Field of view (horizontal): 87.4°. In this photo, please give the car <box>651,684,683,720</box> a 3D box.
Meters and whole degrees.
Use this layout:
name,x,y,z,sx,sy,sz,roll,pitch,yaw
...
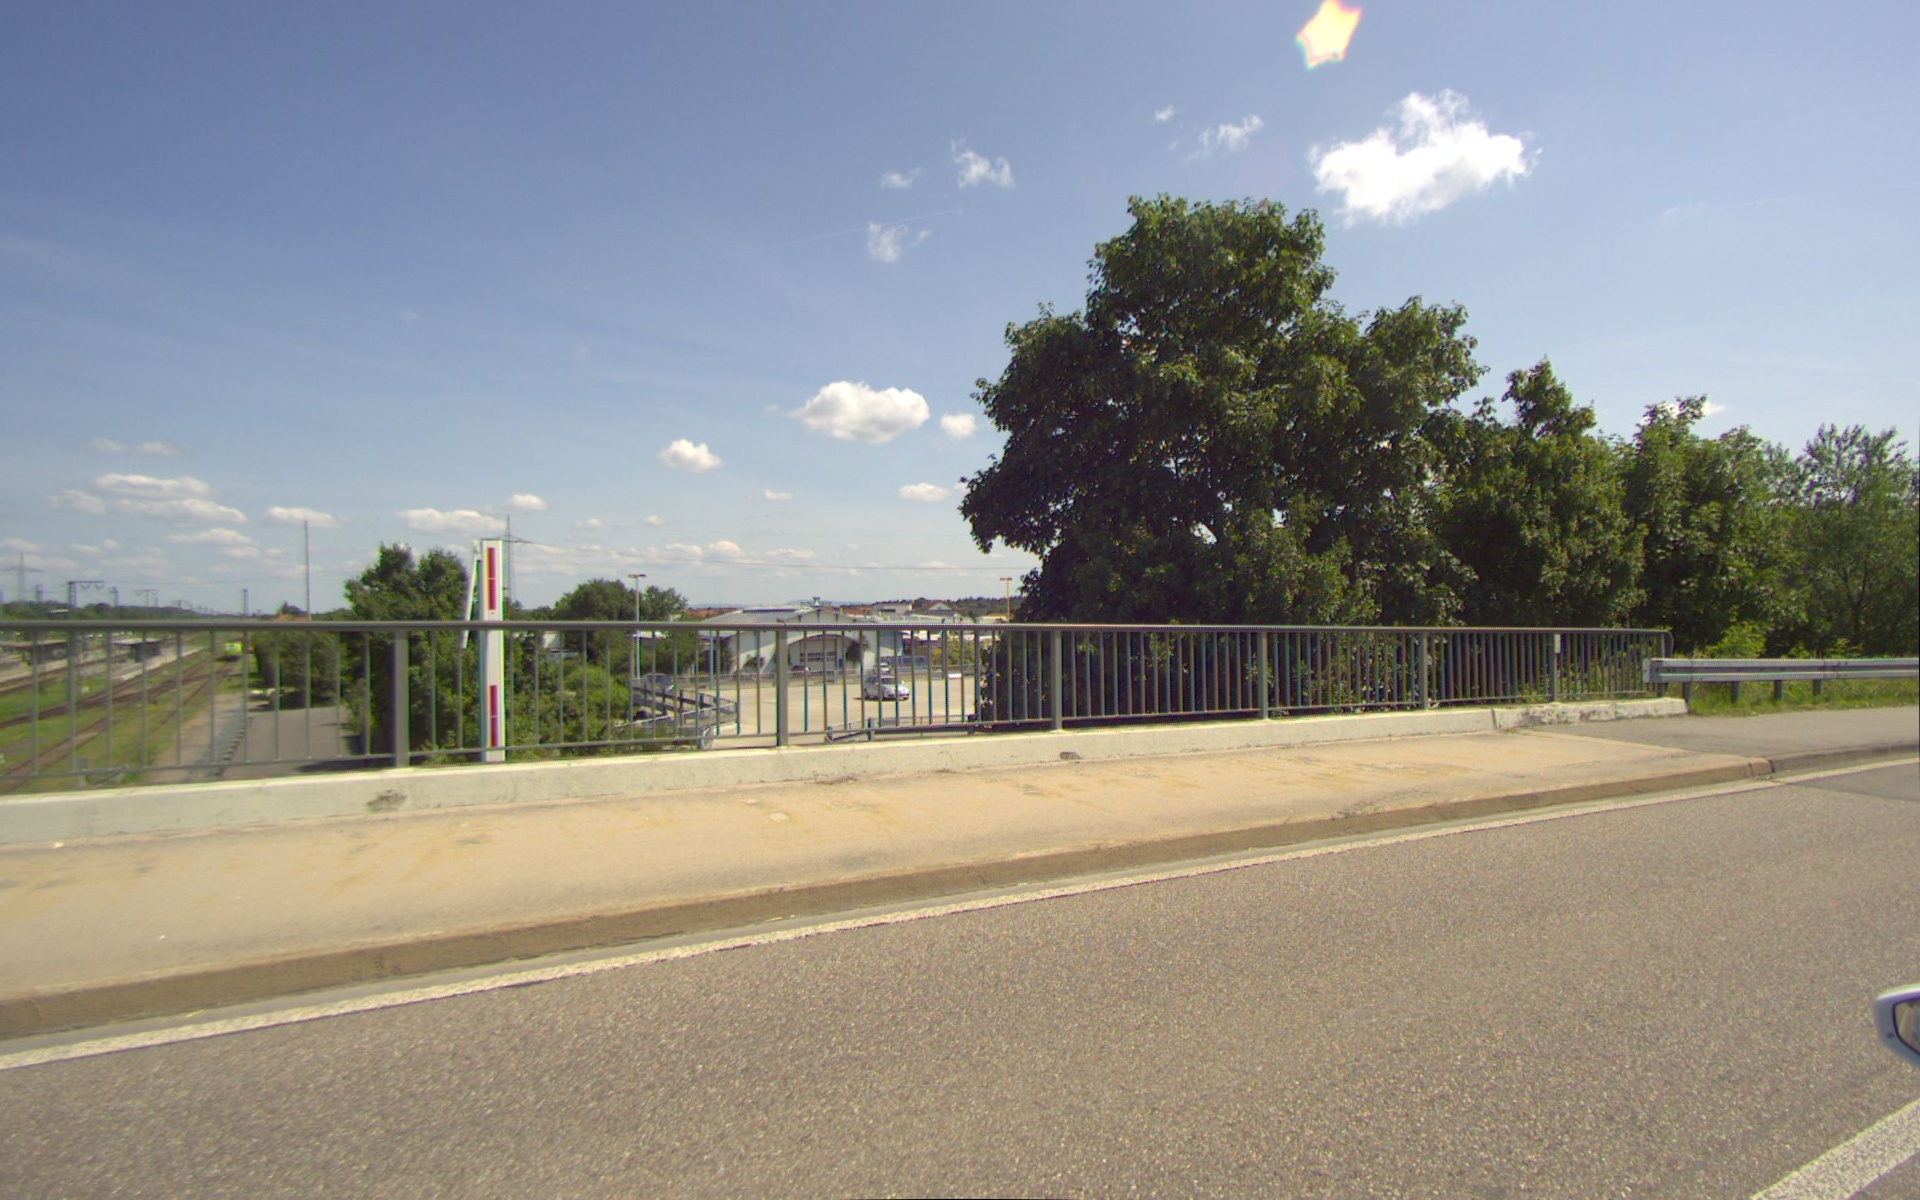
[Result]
name,x,y,z,sx,sy,sz,roll,pitch,yaw
car,-20.490,7.099,70.212,1.969,2.041,3.983,-1,1,-19

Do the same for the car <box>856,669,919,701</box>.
name,x,y,z,sx,sy,sz,roll,pitch,yaw
car,-4.454,5.182,61.467,1.892,1.770,3.955,1,-3,-40
